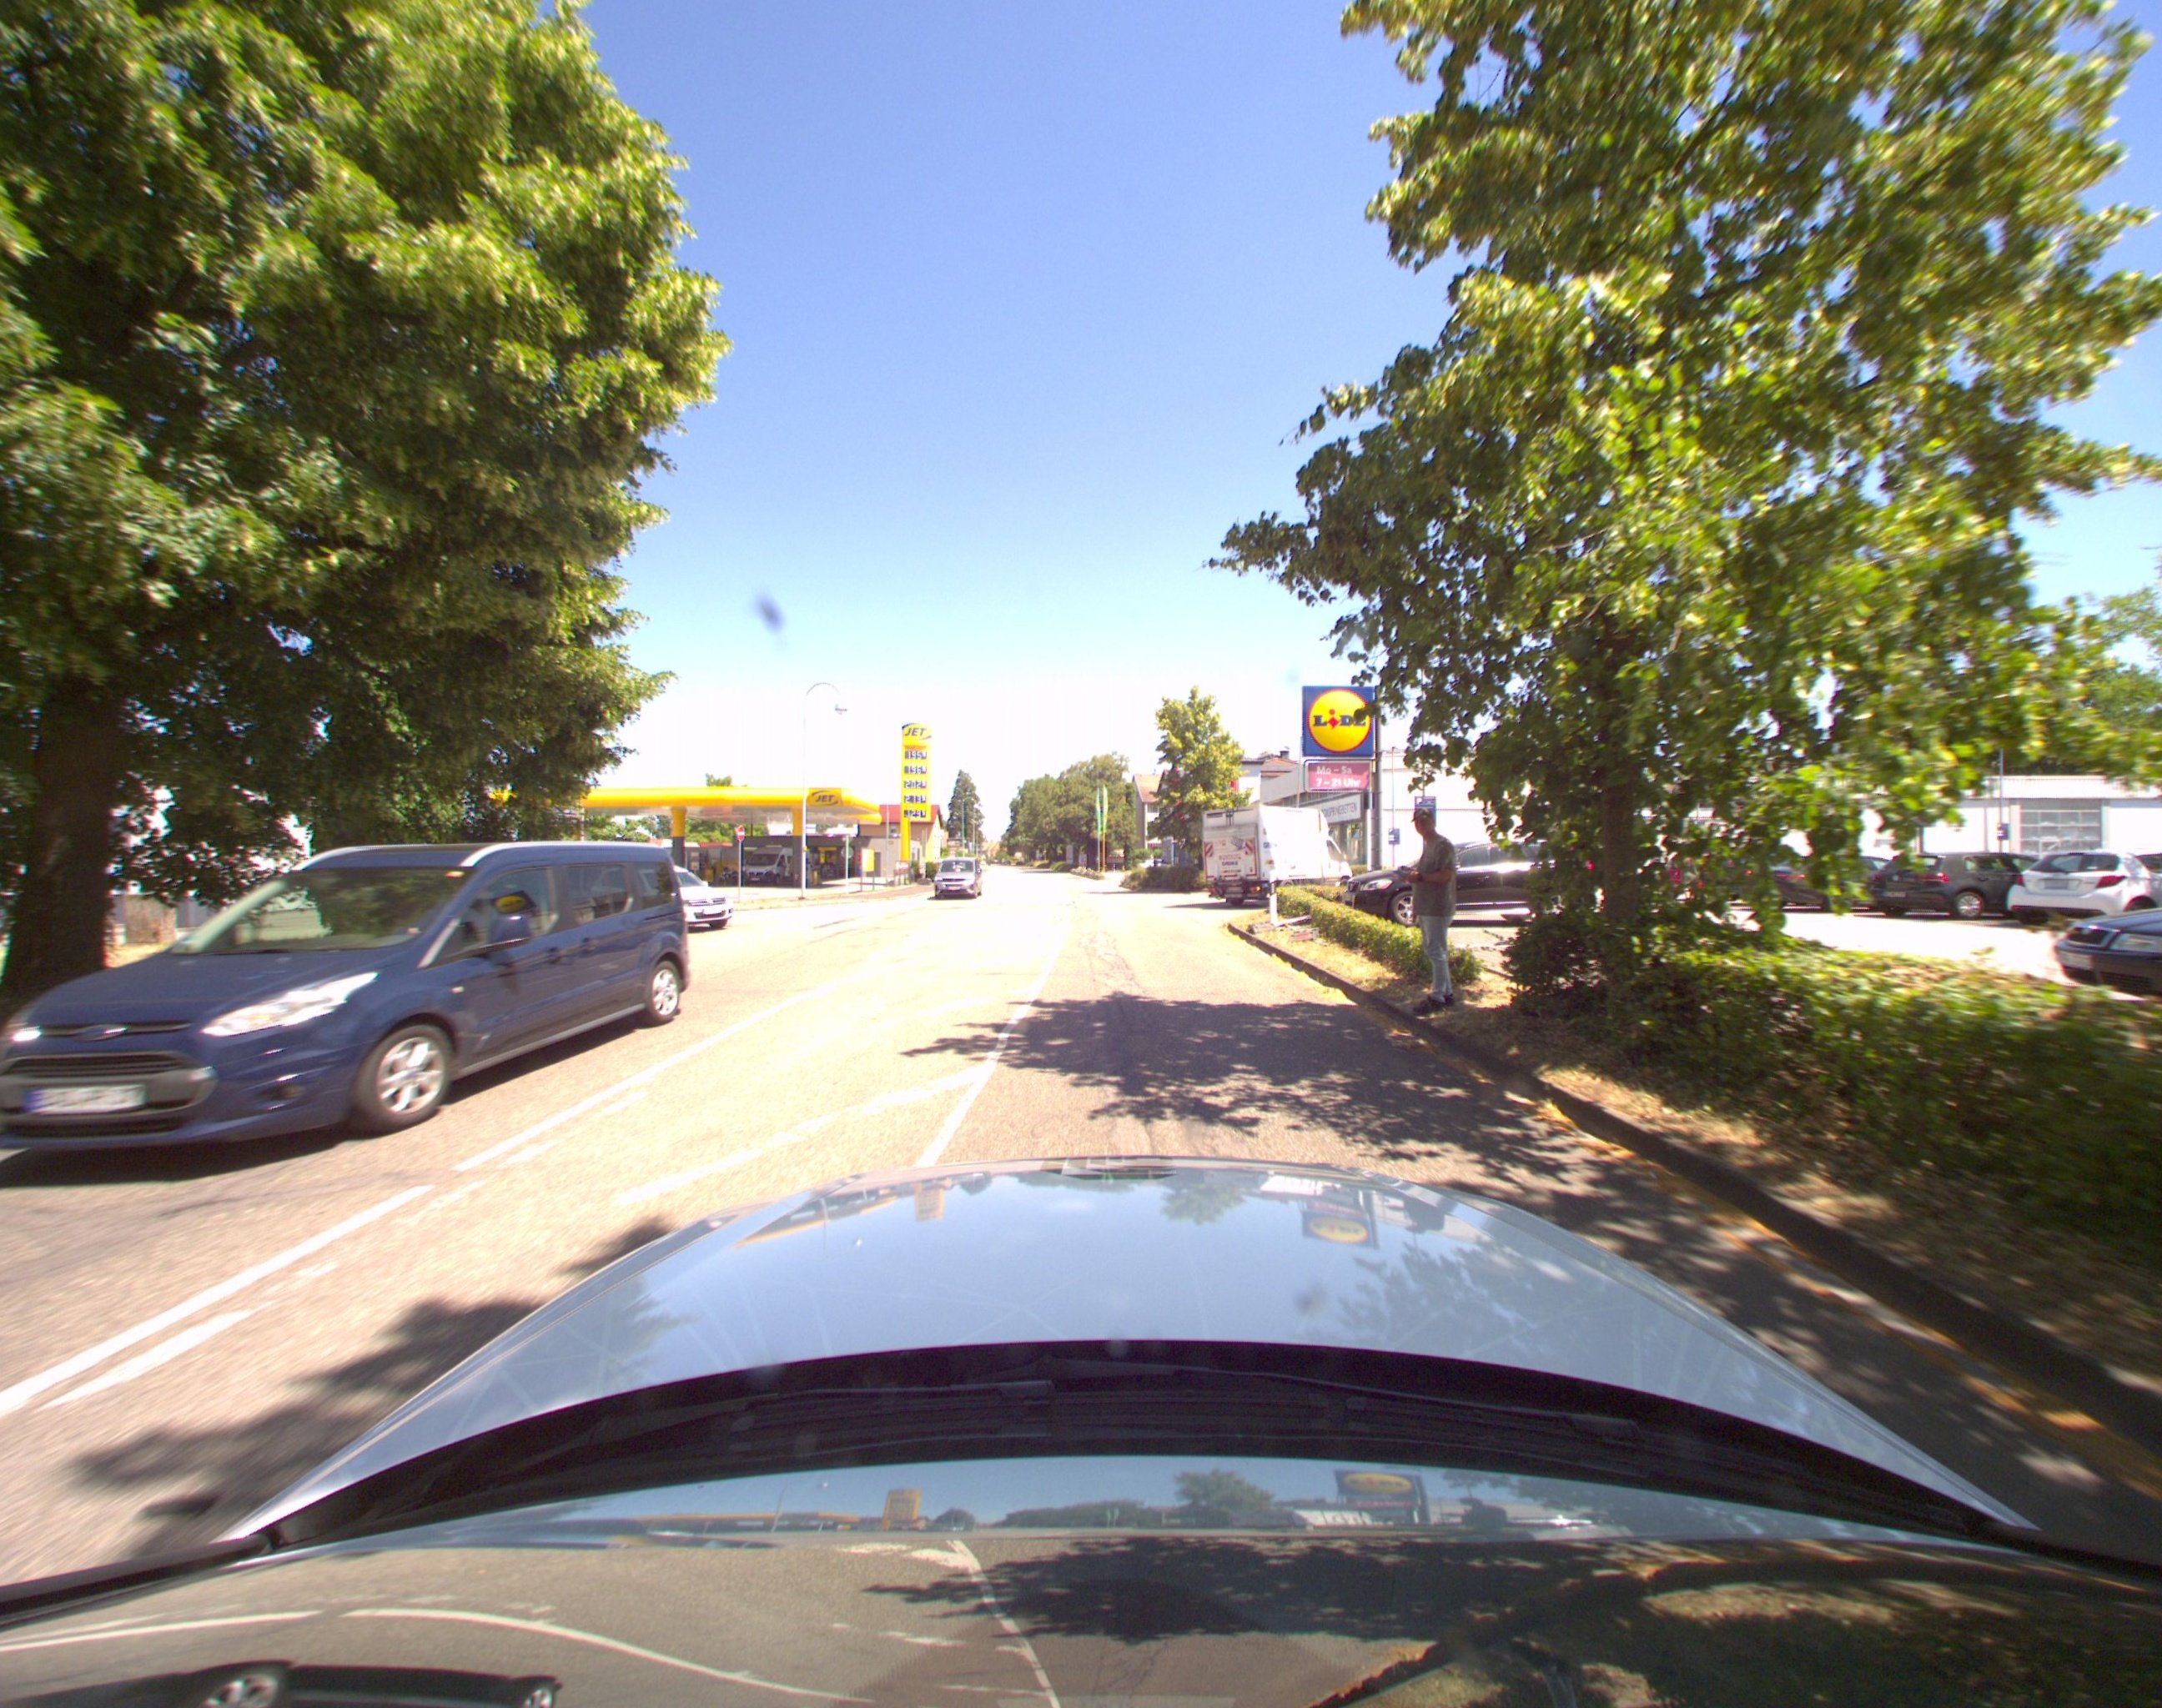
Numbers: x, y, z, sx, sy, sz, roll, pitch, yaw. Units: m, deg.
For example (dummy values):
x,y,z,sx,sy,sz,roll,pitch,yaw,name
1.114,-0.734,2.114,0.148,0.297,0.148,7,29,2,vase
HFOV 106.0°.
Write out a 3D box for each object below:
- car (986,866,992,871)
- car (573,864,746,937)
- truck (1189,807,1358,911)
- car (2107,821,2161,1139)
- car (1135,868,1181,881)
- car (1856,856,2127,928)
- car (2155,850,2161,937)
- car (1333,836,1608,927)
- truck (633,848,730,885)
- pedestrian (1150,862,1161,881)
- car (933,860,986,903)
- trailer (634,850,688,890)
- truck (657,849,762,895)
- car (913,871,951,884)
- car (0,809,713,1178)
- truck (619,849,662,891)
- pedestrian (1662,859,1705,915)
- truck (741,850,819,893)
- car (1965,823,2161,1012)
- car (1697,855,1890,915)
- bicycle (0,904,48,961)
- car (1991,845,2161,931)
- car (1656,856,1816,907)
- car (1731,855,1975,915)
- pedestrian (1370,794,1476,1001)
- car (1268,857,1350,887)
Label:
x,y,z,sx,sy,sz,roll,pitch,yaw,name
-28.966,4.512,256.544,1.708,1.495,4.268,0,-1,-6,car
-10.864,1.141,20.945,4.194,1.672,1.987,-1,-1,30,car
6.264,0.200,25.953,5.987,2.949,2.392,1,-2,-44,truck
6.833,0.570,3.334,3.389,1.506,1.580,-1,-1,-3,car
7.972,2.105,84.341,4.368,1.371,1.938,1,-2,-28,car
19.743,0.815,17.791,4.005,1.477,1.727,1,-2,0,car
19.905,0.661,12.878,3.586,1.458,1.745,0,-1,-1,car
7.459,0.528,15.983,4.495,1.668,1.896,0,-1,3,car
-37.545,1.193,76.688,7.861,3.427,2.150,0,-2,-7,truck
6.470,1.495,70.902,0.837,1.641,1.009,0,-2,-1,pedestrian
-5.304,1.183,36.103,1.791,1.772,4.361,-1,-1,-1,car
-35.213,1.316,68.411,1.862,3.220,5.903,0,-1,-5,trailer
-24.630,1.237,54.407,2.619,2.913,6.759,-1,-2,16,truck
-17.125,2.673,93.864,4.121,1.444,1.823,0,-2,-6,car
-4.924,0.745,6.434,1.817,1.781,4.781,-2,-1,0,car
-34.904,1.263,64.575,1.842,3.242,3.184,0,-1,-5,truck
17.524,0.965,23.702,0.676,1.592,0.706,0,-2,0,pedestrian
-19.212,1.142,52.415,2.224,2.599,6.735,0,-2,3,truck
10.281,0.515,6.389,4.245,1.504,1.757,-1,-2,36,car
20.117,0.879,23.101,4.011,1.563,1.806,1,-2,-3,car
-26.191,1.916,19.882,1.529,1.349,0.395,-1,-2,5,bicycle
19.857,0.631,15.220,3.711,1.504,1.818,0,-1,-1,car
20.775,0.877,25.922,3.982,1.532,1.648,1,-2,-6,car
19.007,0.762,20.211,4.228,1.391,1.901,0,-2,0,car
3.086,0.385,7.412,0.725,1.789,0.622,-1,-2,8,pedestrian
11.878,0.963,42.662,3.962,1.461,1.810,-1,-2,10,car
